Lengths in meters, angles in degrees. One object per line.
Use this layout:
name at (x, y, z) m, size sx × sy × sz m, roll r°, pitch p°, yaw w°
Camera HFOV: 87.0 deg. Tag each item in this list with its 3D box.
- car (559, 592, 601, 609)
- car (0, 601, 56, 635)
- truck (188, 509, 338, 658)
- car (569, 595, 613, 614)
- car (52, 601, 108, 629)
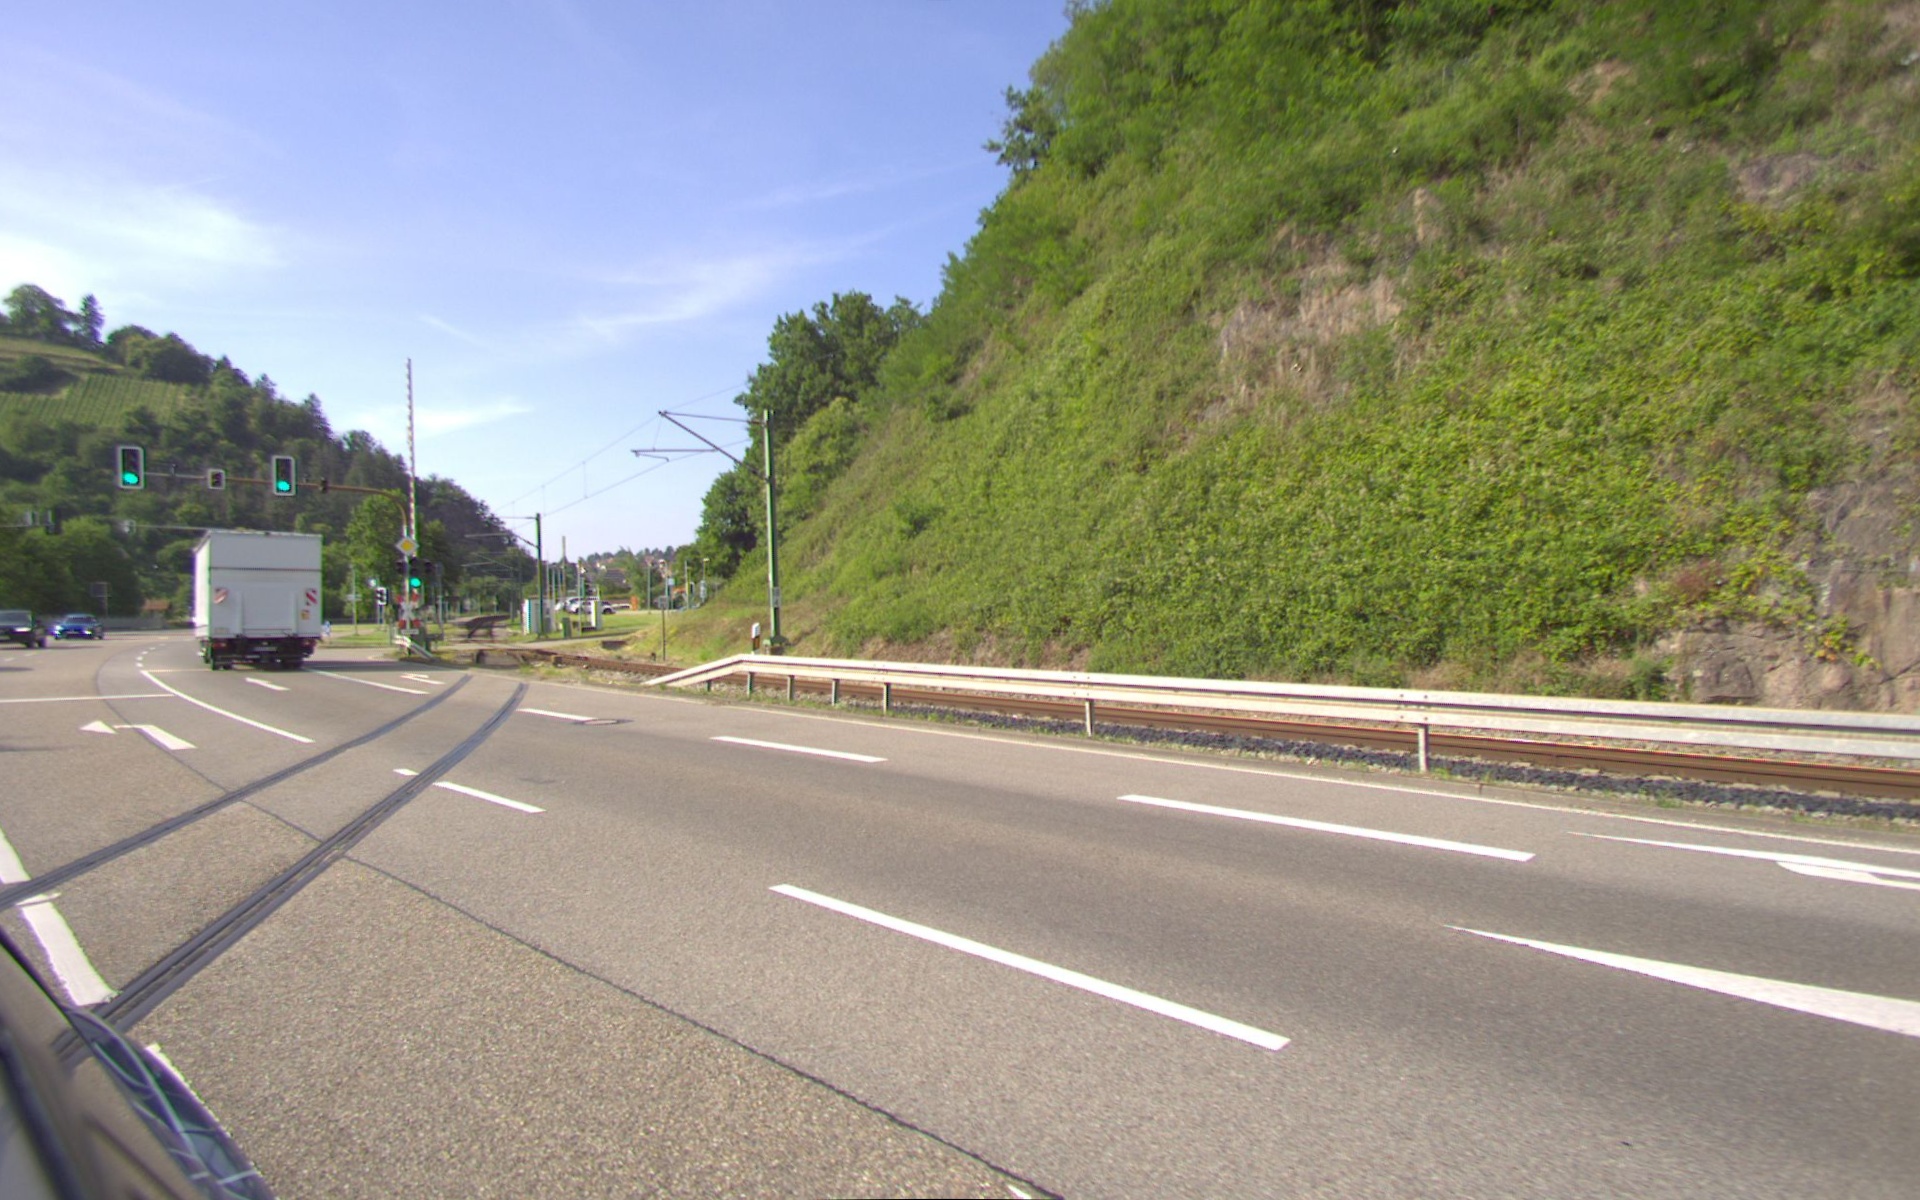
car at (-43.036, 0.111, 114.618) m, size 4.376 × 1.817 × 2.006 m, roll 1°, pitch -1°, yaw -22°
car at (-40.791, 0.776, 43.715) m, size 1.966 × 1.403 × 4.011 m, roll 1°, pitch -2°, yaw -33°
truck at (-21.159, -0.360, 30.465) m, size 2.860 × 3.827 × 8.909 m, roll 1°, pitch -2°, yaw -40°
car at (-35.898, 0.443, 98.486) m, size 3.930 × 1.763 × 1.646 m, roll 1°, pitch -2°, yaw -22°
car at (-50.730, 0.888, 58.411) m, size 1.837 × 1.503 × 4.011 m, roll 1°, pitch -2°, yaw -32°
